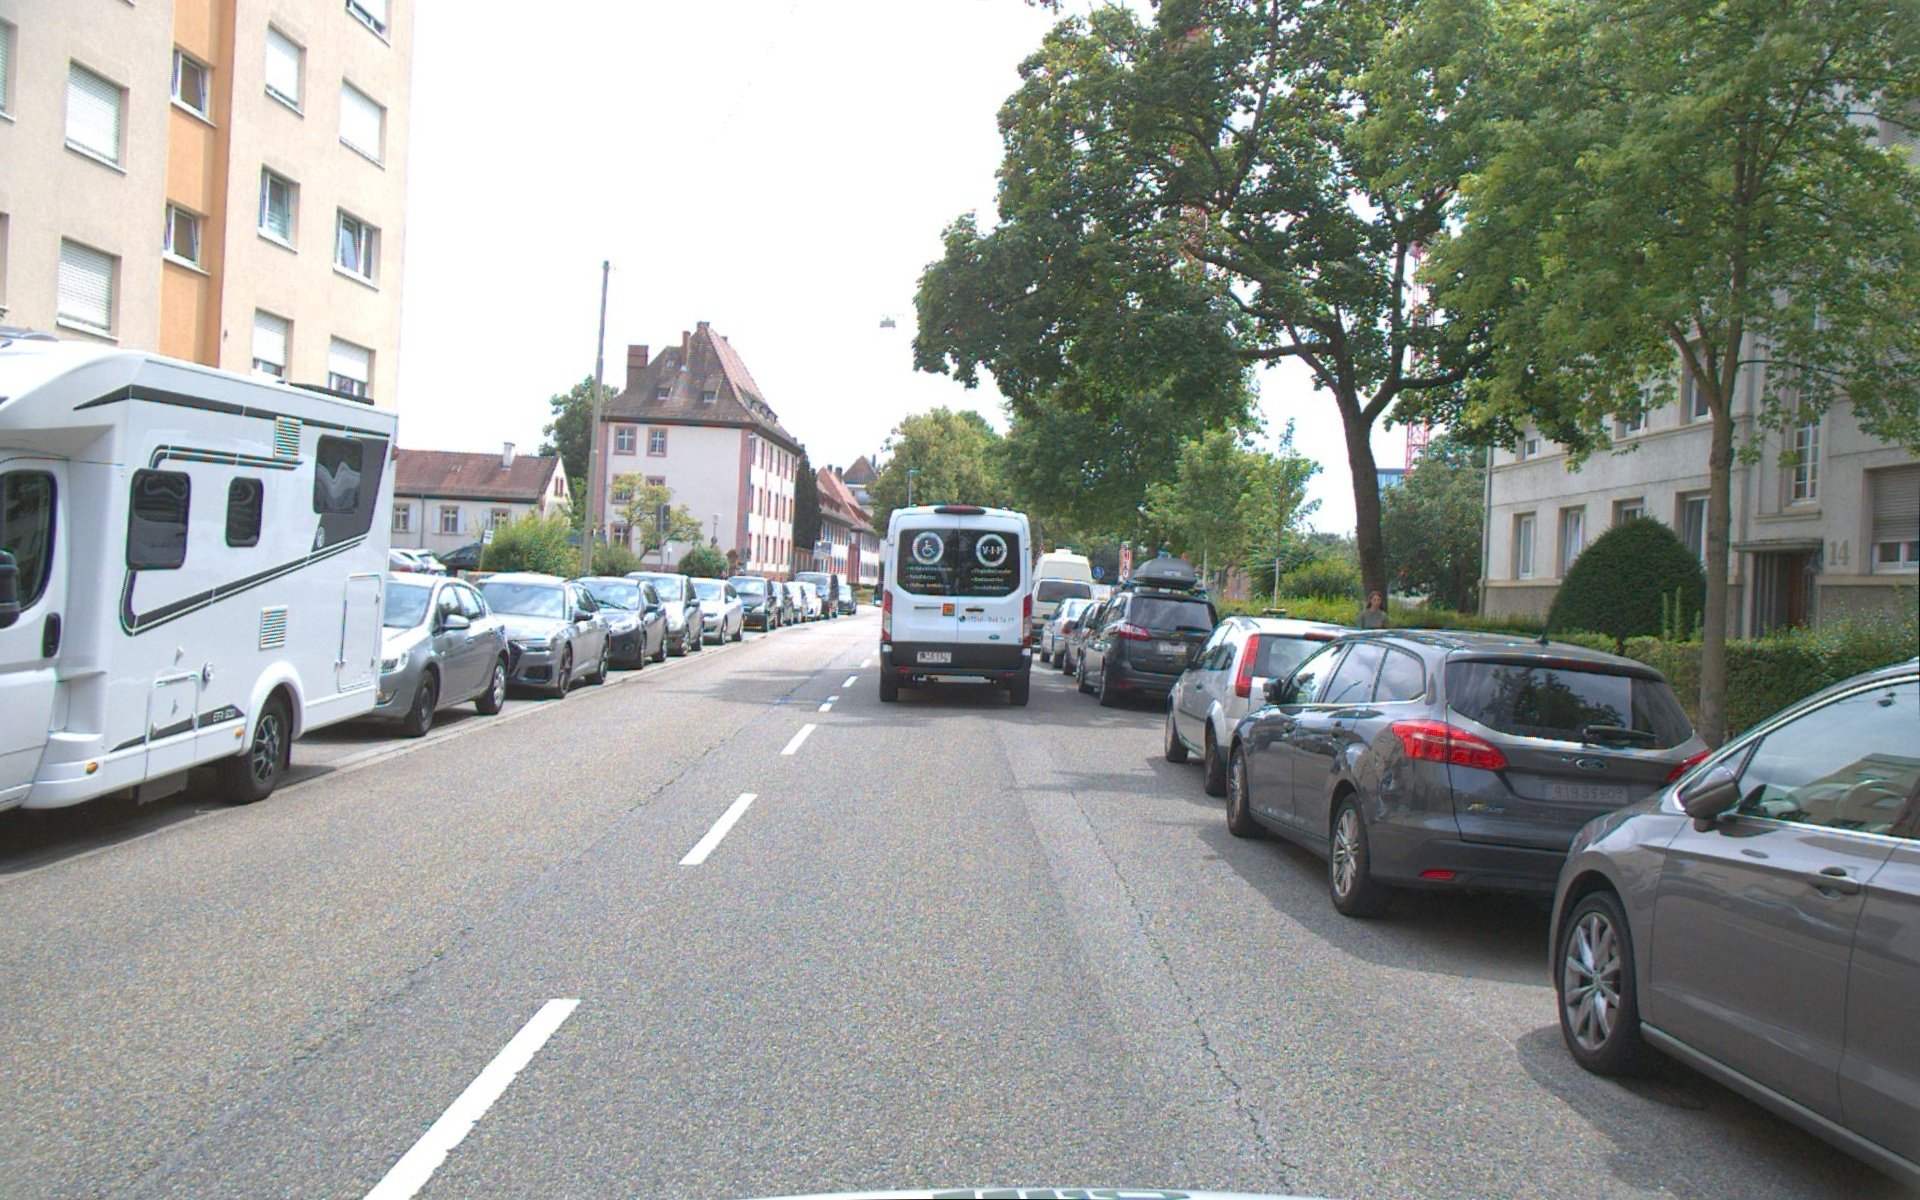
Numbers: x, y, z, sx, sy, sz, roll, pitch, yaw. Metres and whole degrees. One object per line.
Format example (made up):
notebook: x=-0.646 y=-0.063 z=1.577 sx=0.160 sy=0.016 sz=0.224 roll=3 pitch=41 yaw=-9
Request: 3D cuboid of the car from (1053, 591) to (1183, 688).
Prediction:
car: x=2.794 y=0.657 z=29.987 sx=1.679 sy=1.490 sz=3.999 roll=5 pitch=0 yaw=-3

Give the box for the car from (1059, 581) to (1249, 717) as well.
car: x=2.790 y=0.643 z=25.109 sx=1.889 sy=1.690 sz=5.322 roll=5 pitch=0 yaw=-3

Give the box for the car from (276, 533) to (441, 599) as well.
car: x=-17.755 y=-1.010 z=48.951 sx=4.087 sy=1.713 sz=2.000 roll=2 pitch=1 yaw=0

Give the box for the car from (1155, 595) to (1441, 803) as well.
car: x=2.852 y=0.758 z=14.795 sx=1.625 sy=1.482 sz=4.035 roll=4 pitch=0 yaw=0

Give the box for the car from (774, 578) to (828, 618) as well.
car: x=-6.492 y=-0.096 z=67.810 sx=1.749 sy=1.507 sz=3.861 roll=4 pitch=0 yaw=0

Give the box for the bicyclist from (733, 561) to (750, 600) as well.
bicyclist: x=-9.234 y=-0.832 z=69.922 sx=0.525 sy=1.613 sz=0.692 roll=2 pitch=0 yaw=2

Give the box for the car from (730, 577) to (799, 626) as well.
car: x=-6.570 y=0.027 z=55.939 sx=1.749 sy=1.487 sz=3.861 roll=4 pitch=0 yaw=0

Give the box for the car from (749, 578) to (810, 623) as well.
car: x=-6.634 y=0.008 z=61.116 sx=1.749 sy=1.487 sz=3.861 roll=4 pitch=0 yaw=0

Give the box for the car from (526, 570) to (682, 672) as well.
car: x=-6.099 y=0.313 z=28.833 sx=1.706 sy=1.522 sz=4.784 roll=4 pitch=0 yaw=-2

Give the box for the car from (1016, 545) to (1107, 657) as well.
car: x=2.601 y=0.007 z=43.593 sx=1.859 sy=2.631 sz=4.828 roll=5 pitch=0 yaw=-1

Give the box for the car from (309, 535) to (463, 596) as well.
car: x=-18.007 y=-1.094 z=52.012 sx=4.087 sy=1.713 sz=2.000 roll=2 pitch=1 yaw=0

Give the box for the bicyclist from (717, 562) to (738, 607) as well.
bicyclist: x=-8.770 y=-0.586 z=62.321 sx=0.525 sy=1.682 sz=1.048 roll=2 pitch=0 yaw=4

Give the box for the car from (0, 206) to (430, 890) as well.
car: x=-5.610 y=-0.303 z=9.923 sx=2.460 sy=3.076 sz=7.394 roll=4 pitch=0 yaw=-1

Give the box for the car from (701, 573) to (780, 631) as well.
car: x=-6.566 y=0.053 z=49.817 sx=1.749 sy=1.570 sz=3.861 roll=4 pitch=0 yaw=0

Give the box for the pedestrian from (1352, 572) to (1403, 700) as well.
pedestrian: x=6.166 y=0.527 z=24.441 sx=0.513 sy=1.860 sz=0.522 roll=2 pitch=0 yaw=-11

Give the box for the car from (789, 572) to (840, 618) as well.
car: x=-6.384 y=-0.236 z=72.916 sx=1.749 sy=1.858 sz=3.974 roll=4 pitch=0 yaw=0

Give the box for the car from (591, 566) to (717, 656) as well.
car: x=-6.198 y=0.194 z=33.919 sx=1.848 sy=1.606 sz=4.151 roll=4 pitch=0 yaw=-2

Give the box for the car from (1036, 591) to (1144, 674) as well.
car: x=2.685 y=0.631 z=35.072 sx=1.647 sy=1.494 sz=4.553 roll=5 pitch=0 yaw=-3

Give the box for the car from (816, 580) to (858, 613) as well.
car: x=-6.181 y=-0.178 z=83.281 sx=1.749 sy=1.507 sz=3.861 roll=4 pitch=0 yaw=0

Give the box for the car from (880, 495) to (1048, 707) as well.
car: x=-0.051 y=0.013 z=22.919 sx=2.029 sy=2.585 sz=4.632 roll=1 pitch=0 yaw=-3

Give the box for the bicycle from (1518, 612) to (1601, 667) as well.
bicycle: x=11.068 y=0.727 z=30.547 sx=1.360 sy=0.933 sz=0.513 roll=2 pitch=1 yaw=-14

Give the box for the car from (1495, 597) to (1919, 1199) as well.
car: x=3.109 y=0.880 z=4.503 sx=1.626 sy=1.610 sz=4.283 roll=5 pitch=0 yaw=-3

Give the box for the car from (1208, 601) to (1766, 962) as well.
car: x=2.731 y=0.833 z=9.700 sx=1.585 sy=1.495 sz=4.389 roll=4 pitch=0 yaw=-3

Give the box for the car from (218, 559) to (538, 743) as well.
car: x=-5.726 y=0.429 z=16.910 sx=1.655 sy=1.522 sz=4.592 roll=4 pitch=0 yaw=-2

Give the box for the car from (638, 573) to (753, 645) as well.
car: x=-6.284 y=0.197 z=39.816 sx=1.847 sy=1.514 sz=4.634 roll=4 pitch=0 yaw=1

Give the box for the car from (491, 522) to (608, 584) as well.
car: x=-17.241 y=-1.958 z=69.612 sx=4.318 sy=2.389 sz=2.000 roll=2 pitch=1 yaw=0

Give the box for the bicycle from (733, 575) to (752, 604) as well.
bicycle: x=-9.235 y=-0.460 z=70.246 sx=0.530 sy=1.195 sz=1.349 roll=2 pitch=0 yaw=2

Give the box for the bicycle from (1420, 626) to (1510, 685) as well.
bicycle: x=8.561 y=0.933 z=28.043 sx=1.360 sy=0.933 sz=0.513 roll=2 pitch=1 yaw=-14

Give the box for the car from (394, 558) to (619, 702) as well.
car: x=-5.959 y=0.331 z=22.400 sx=1.849 sy=1.606 sz=5.215 roll=4 pitch=0 yaw=-4

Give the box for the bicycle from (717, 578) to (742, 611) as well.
bicycle: x=-8.747 y=-0.208 z=62.834 sx=0.530 sy=1.195 sz=2.093 roll=2 pitch=0 yaw=4
